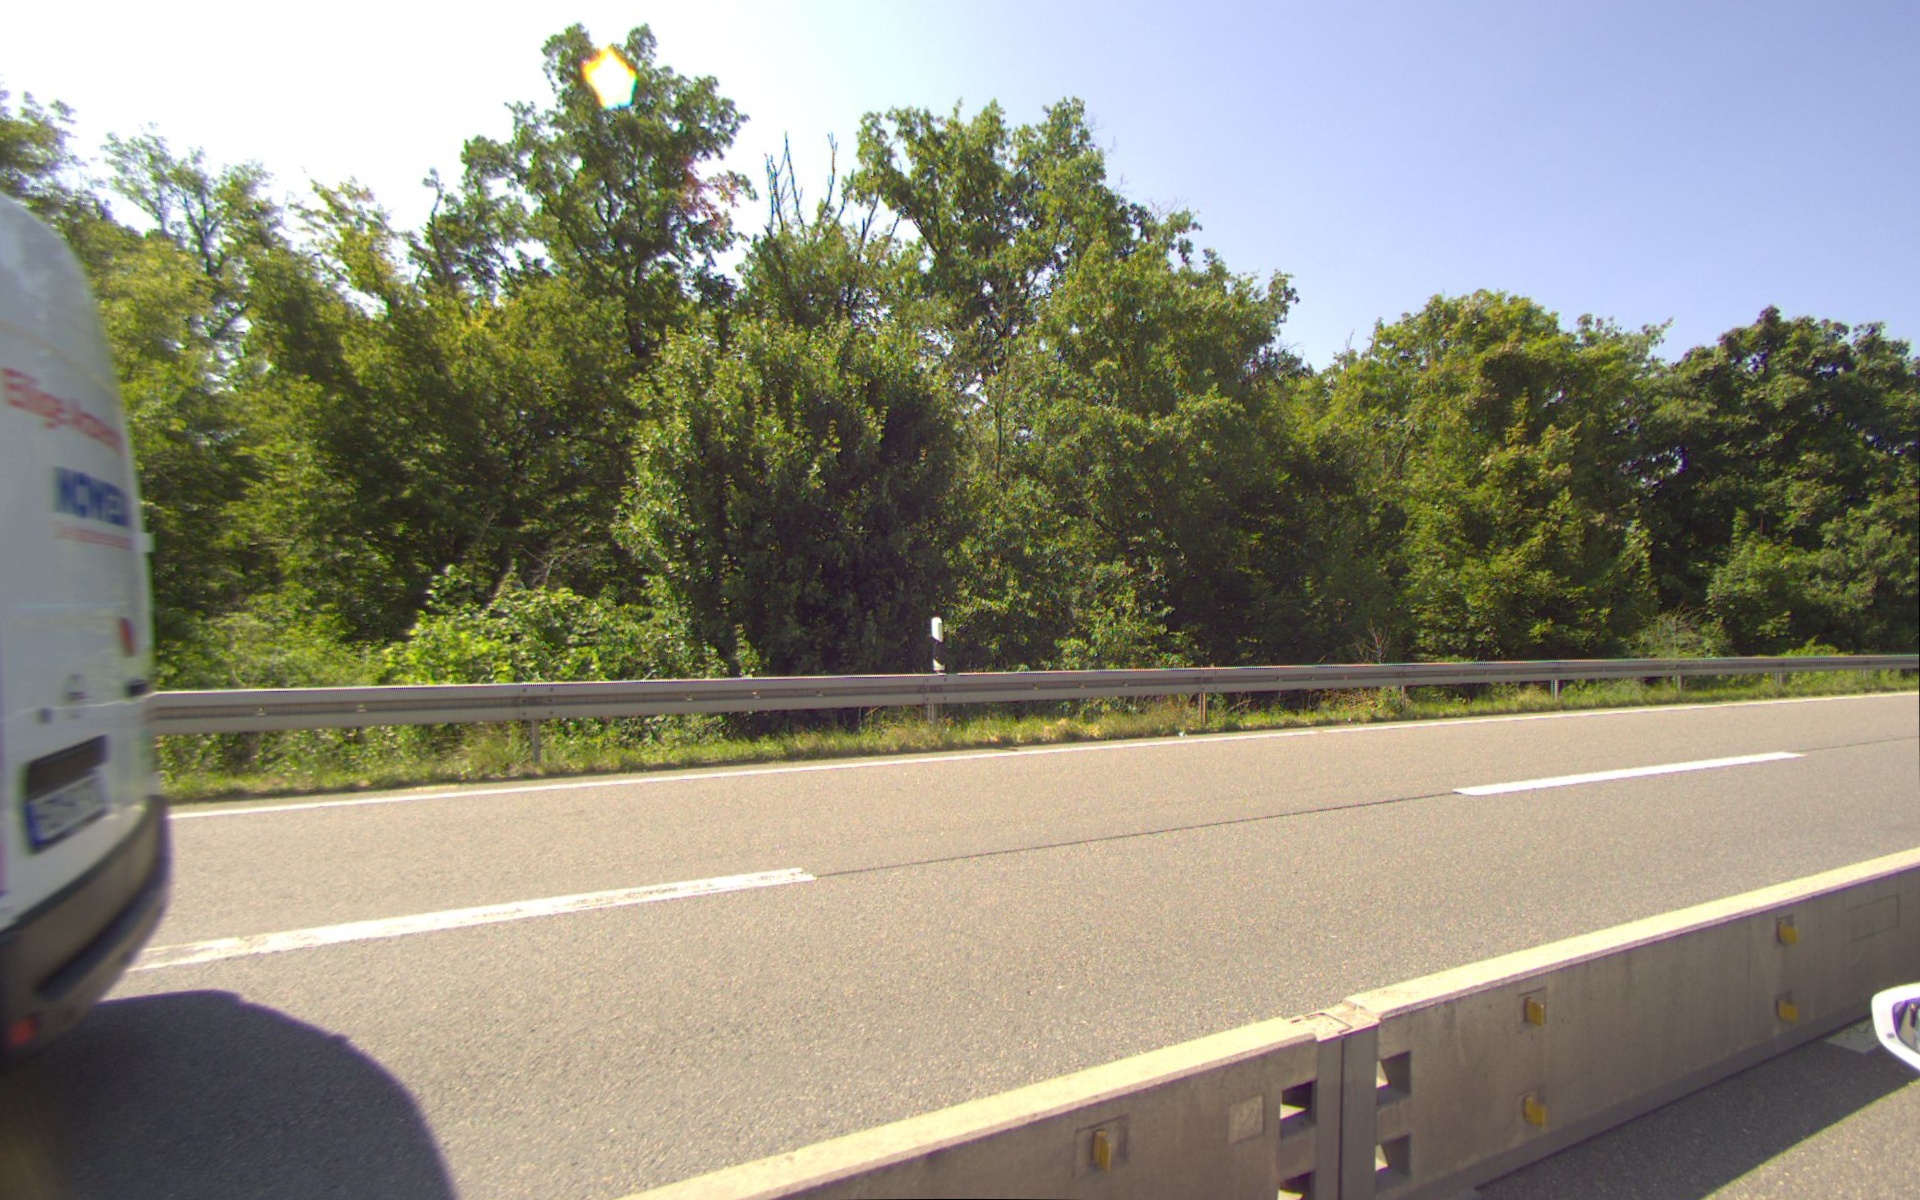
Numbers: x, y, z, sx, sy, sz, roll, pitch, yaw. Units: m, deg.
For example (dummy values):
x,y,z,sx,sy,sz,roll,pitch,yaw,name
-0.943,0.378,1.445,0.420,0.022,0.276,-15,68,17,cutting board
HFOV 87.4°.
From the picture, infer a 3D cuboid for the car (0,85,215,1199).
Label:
x,y,z,sx,sy,sz,roll,pitch,yaw,name
-4.818,0.112,1.674,5.496,2.518,2.051,1,0,-31,car
